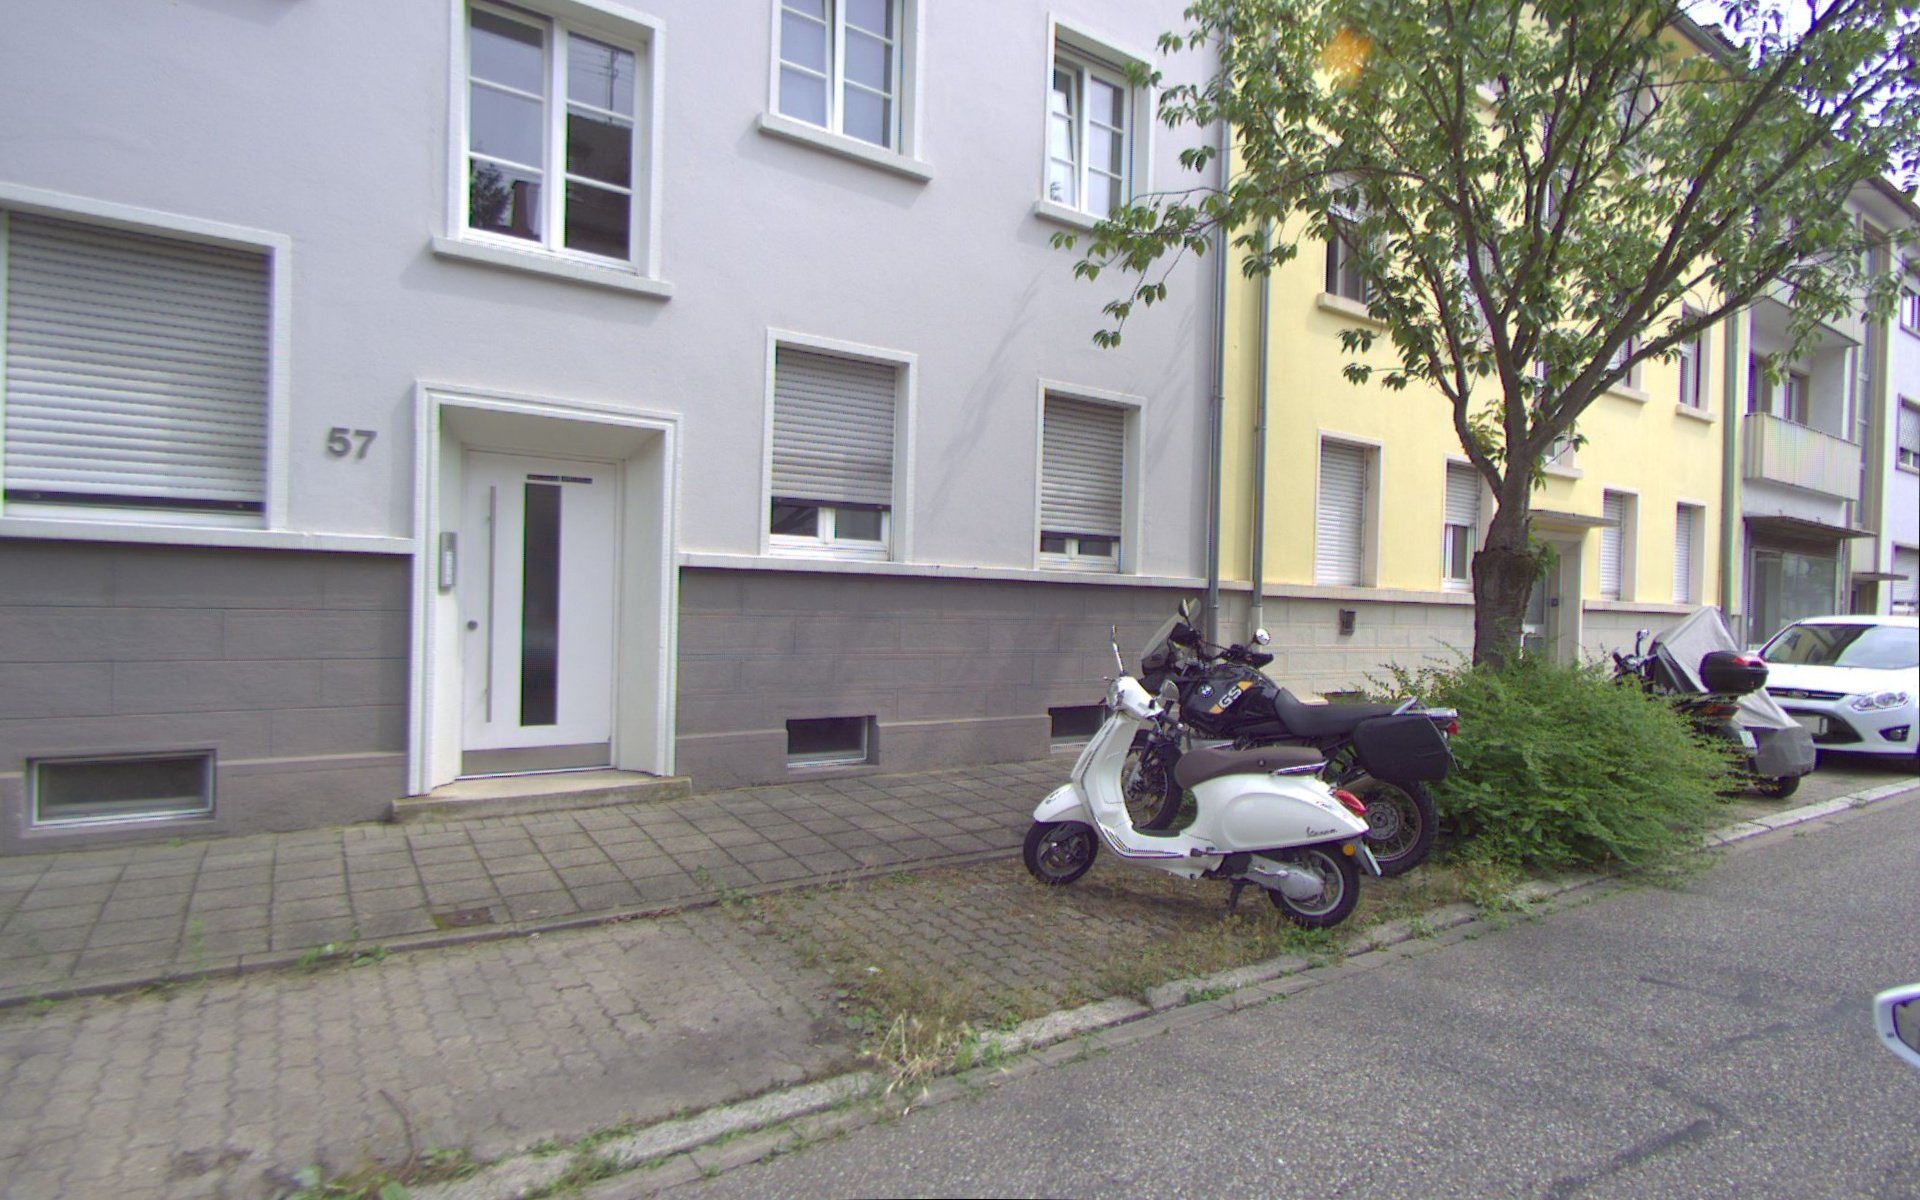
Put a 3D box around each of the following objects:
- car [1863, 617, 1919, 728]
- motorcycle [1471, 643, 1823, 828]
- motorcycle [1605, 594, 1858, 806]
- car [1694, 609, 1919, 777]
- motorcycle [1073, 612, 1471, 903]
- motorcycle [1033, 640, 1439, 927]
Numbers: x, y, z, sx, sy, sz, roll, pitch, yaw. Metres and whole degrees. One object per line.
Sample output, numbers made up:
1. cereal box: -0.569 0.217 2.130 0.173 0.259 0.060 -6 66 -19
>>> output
1. car: 15.368 1.097 14.903 4.762 1.512 1.780 2 0 -34
2. motorcycle: 5.720 1.049 8.587 0.636 1.328 2.435 1 -2 -32
3. motorcycle: 7.087 0.817 9.444 0.920 1.698 2.475 1 0 13
4. car: 10.296 0.949 11.485 4.212 1.577 1.746 2 -1 -34
5. motorcycle: 1.809 0.833 6.015 2.199 1.501 0.596 -1 -2 31
6. motorcycle: 1.341 0.813 5.040 1.878 1.207 0.596 -1 -2 31
